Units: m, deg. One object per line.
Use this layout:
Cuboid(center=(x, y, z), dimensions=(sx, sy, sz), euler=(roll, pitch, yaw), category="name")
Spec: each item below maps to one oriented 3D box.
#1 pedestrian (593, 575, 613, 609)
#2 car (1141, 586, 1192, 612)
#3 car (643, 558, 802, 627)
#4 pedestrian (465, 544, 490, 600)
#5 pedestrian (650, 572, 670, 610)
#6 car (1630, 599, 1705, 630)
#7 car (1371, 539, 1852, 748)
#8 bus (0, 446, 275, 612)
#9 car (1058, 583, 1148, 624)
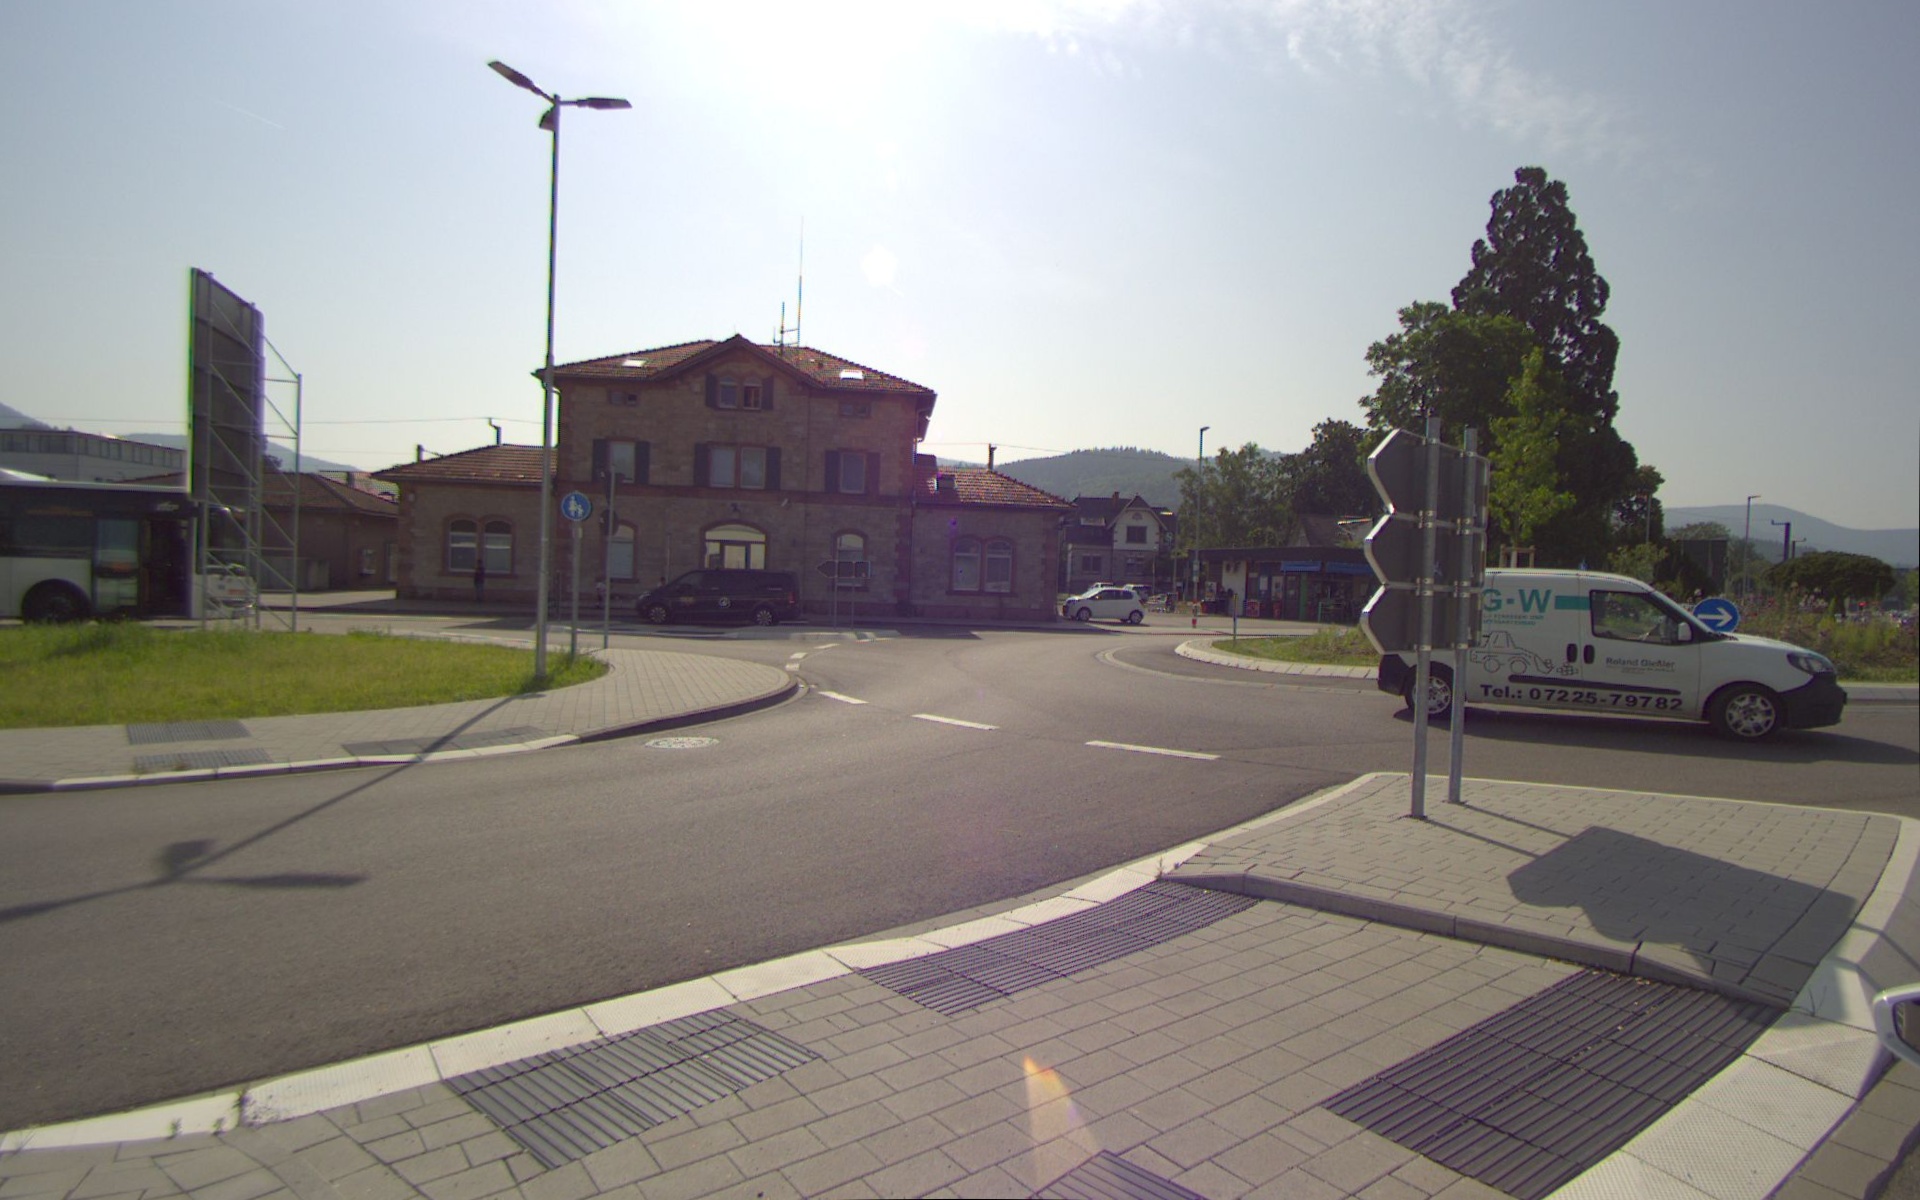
Cuboid(center=(-13.130, -0.309, 36.966), dimensions=(0.574, 1.220, 0.442), euler=(2, 0, -9), category="pedestrian")
Cuboid(center=(11.656, -0.076, 56.931), dimensions=(1.392, 1.344, 3.585), euler=(2, 1, -13), category="car")
Cuboid(center=(-7.688, -0.230, 32.888), dimensions=(4.791, 1.971, 1.843), euler=(2, 0, -7), category="car")
Cuboid(center=(-17.987, -1.026, 37.440), dimensions=(0.566, 2.040, 0.530), euler=(2, 0, 9), category="pedestrian")
Cuboid(center=(-11.083, -0.323, 37.147), dimensions=(0.542, 1.367, 0.566), euler=(2, 0, -6), category="pedestrian")
Cuboid(center=(29.671, 0.618, 42.110), dimensions=(3.207, 1.187, 1.381), euler=(1, 1, -31), category="car")
Cuboid(center=(7.564, 0.355, 12.115), dimensions=(4.528, 2.106, 1.805), euler=(1, 3, 35), category="car")
Cuboid(center=(-21.299, -1.524, 20.595), dimensions=(11.530, 3.165, 3.063), euler=(1, 1, -16), category="bus")
Cuboid(center=(6.132, 0.147, 43.187), dimensions=(3.475, 1.469, 1.390), euler=(4, 1, -10), category="car")
